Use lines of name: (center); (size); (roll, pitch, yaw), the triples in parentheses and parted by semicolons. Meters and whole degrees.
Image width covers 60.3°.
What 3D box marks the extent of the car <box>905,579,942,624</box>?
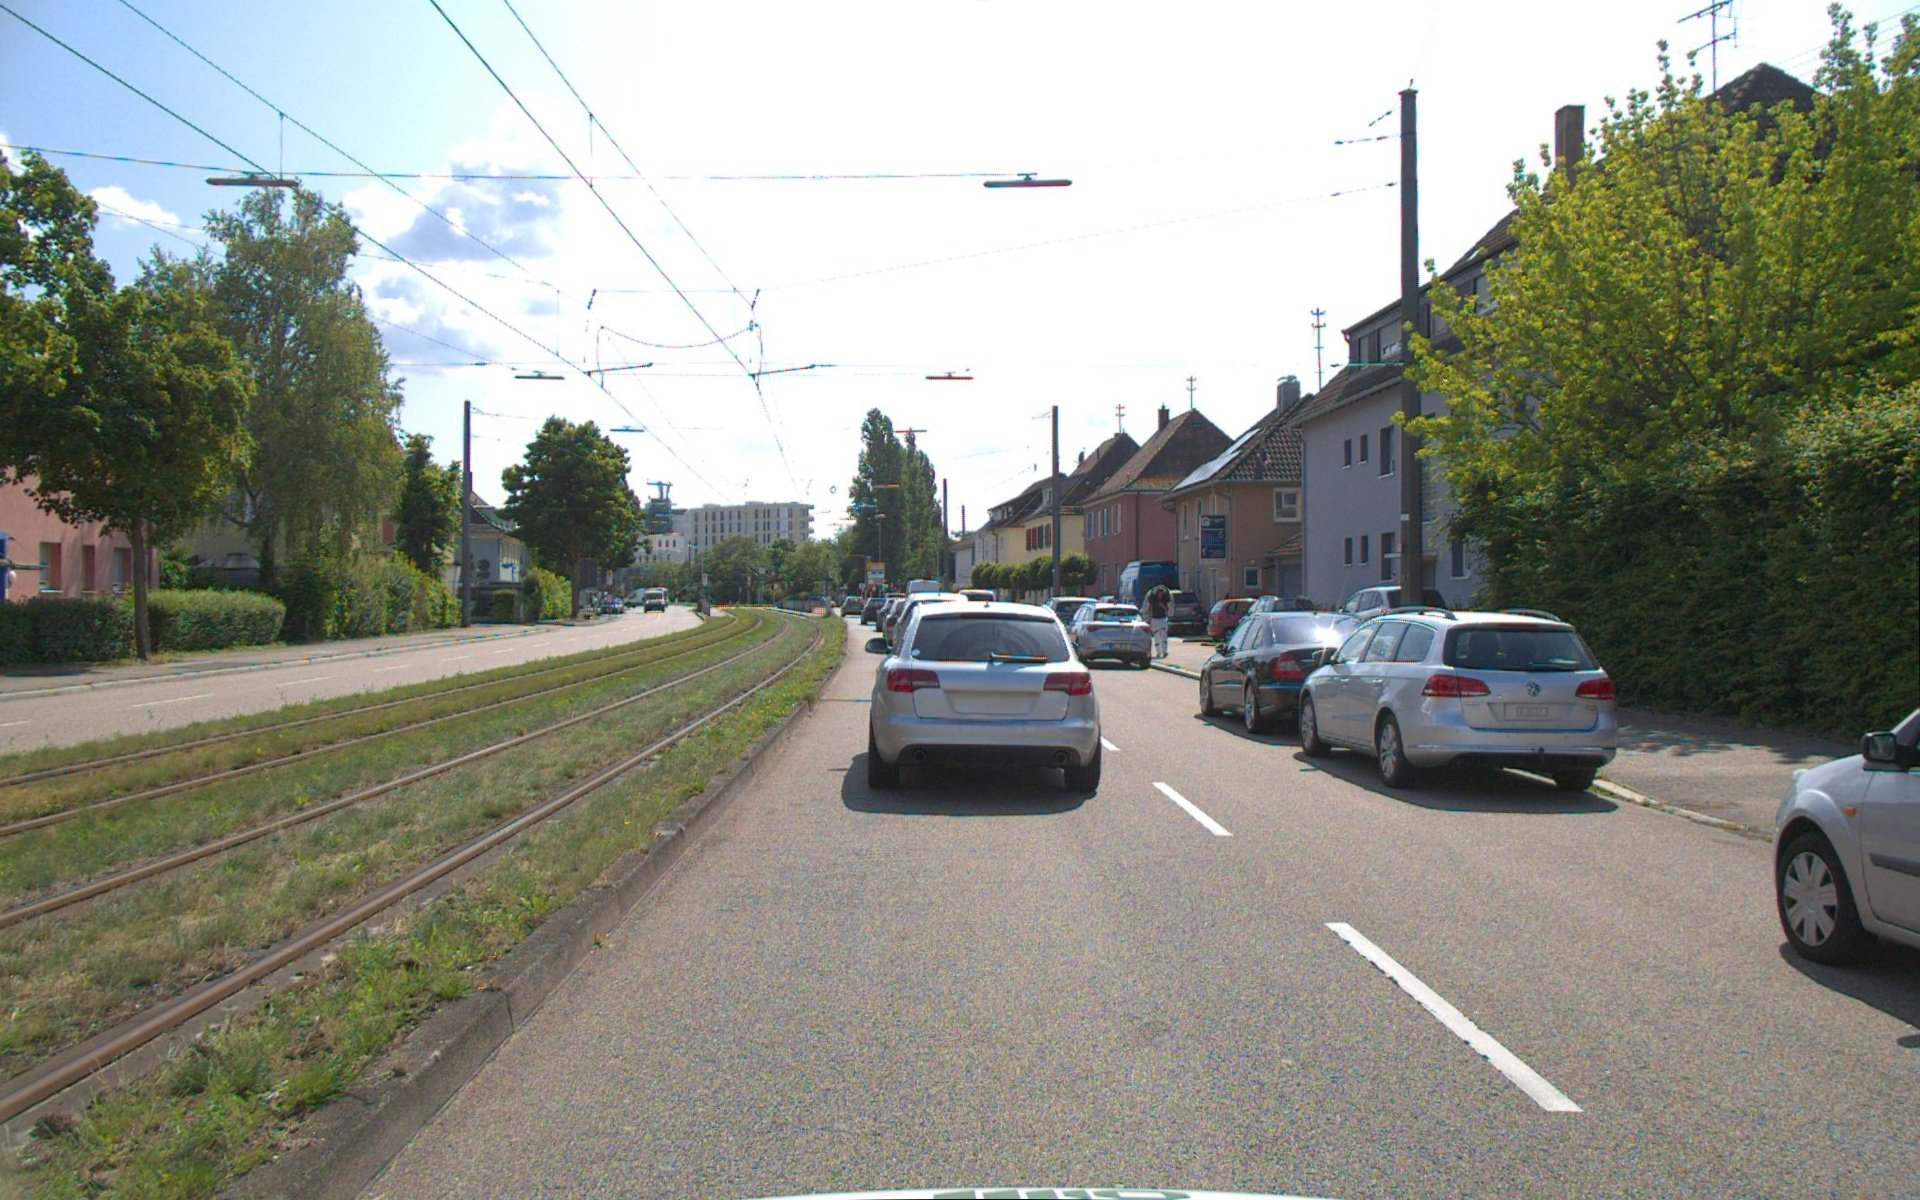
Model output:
car: (-2.213, 0.078, 99.735); (2.000, 2.602, 5.227); (0, 0, -4)

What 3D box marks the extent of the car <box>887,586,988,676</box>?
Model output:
car: (-0.508, 0.578, 32.928); (1.752, 1.604, 4.091); (2, 0, -4)

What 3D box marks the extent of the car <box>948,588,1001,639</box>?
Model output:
car: (0.530, 0.479, 59.580); (1.846, 1.761, 4.094); (0, 0, 1)

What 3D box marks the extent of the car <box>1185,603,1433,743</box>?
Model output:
car: (4.213, 0.815, 20.848); (1.861, 1.469, 5.055); (1, 0, -2)

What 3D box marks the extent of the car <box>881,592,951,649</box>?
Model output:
car: (-1.257, 0.550, 45.794); (1.847, 1.491, 4.092); (0, 0, -3)

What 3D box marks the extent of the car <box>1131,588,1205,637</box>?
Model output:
car: (7.875, 0.452, 63.058); (1.800, 1.741, 4.859); (-2, 0, -5)

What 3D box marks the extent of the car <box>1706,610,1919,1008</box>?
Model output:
car: (4.524, 0.814, 6.082); (1.701, 1.515, 4.094); (1, -1, 0)

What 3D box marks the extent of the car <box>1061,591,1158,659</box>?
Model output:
car: (3.483, 0.592, 39.239); (1.778, 1.479, 4.642); (1, -1, -1)

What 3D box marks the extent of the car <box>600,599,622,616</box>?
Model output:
car: (-33.345, 0.746, 158.240); (1.752, 1.612, 3.924); (0, 0, -7)

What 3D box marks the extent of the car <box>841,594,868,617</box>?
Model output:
car: (-7.693, 0.426, 120.382); (1.847, 1.557, 4.092); (1, -1, -3)

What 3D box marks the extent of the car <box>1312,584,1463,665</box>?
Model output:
car: (9.485, 0.530, 37.126); (1.723, 1.676, 4.763); (-1, 0, -6)

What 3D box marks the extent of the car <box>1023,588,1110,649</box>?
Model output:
car: (2.929, 0.520, 46.289); (1.772, 1.587, 4.248); (1, -1, -5)

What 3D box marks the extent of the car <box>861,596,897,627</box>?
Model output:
car: (-4.363, 0.633, 89.058); (1.847, 1.557, 4.092); (1, -1, -3)

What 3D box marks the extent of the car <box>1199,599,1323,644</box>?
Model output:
car: (9.607, 0.695, 52.912); (3.578, 1.404, 1.724); (0, -1, -6)

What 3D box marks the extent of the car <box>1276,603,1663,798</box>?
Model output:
car: (4.466, 0.812, 15.419); (1.852, 1.481, 5.003); (1, -1, -3)

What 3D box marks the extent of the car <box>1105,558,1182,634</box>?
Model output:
car: (7.635, -0.124, 69.305); (2.109, 2.981, 6.239); (1, -1, -4)

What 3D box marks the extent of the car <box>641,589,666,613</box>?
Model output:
car: (-31.296, 0.108, 169.036); (2.155, 2.413, 5.323); (-1, 0, -8)

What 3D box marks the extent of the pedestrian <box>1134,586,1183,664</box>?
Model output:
pedestrian: (5.121, 0.639, 42.707); (1.090, 1.980, 1.091); (0, -1, -3)

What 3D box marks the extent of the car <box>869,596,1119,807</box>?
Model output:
car: (0.256, 0.752, 14.389); (1.816, 1.518, 4.535); (1, 0, 0)

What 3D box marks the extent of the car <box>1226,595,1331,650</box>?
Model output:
car: (8.989, 0.607, 47.072); (1.763, 1.448, 4.854); (-1, 0, -4)
